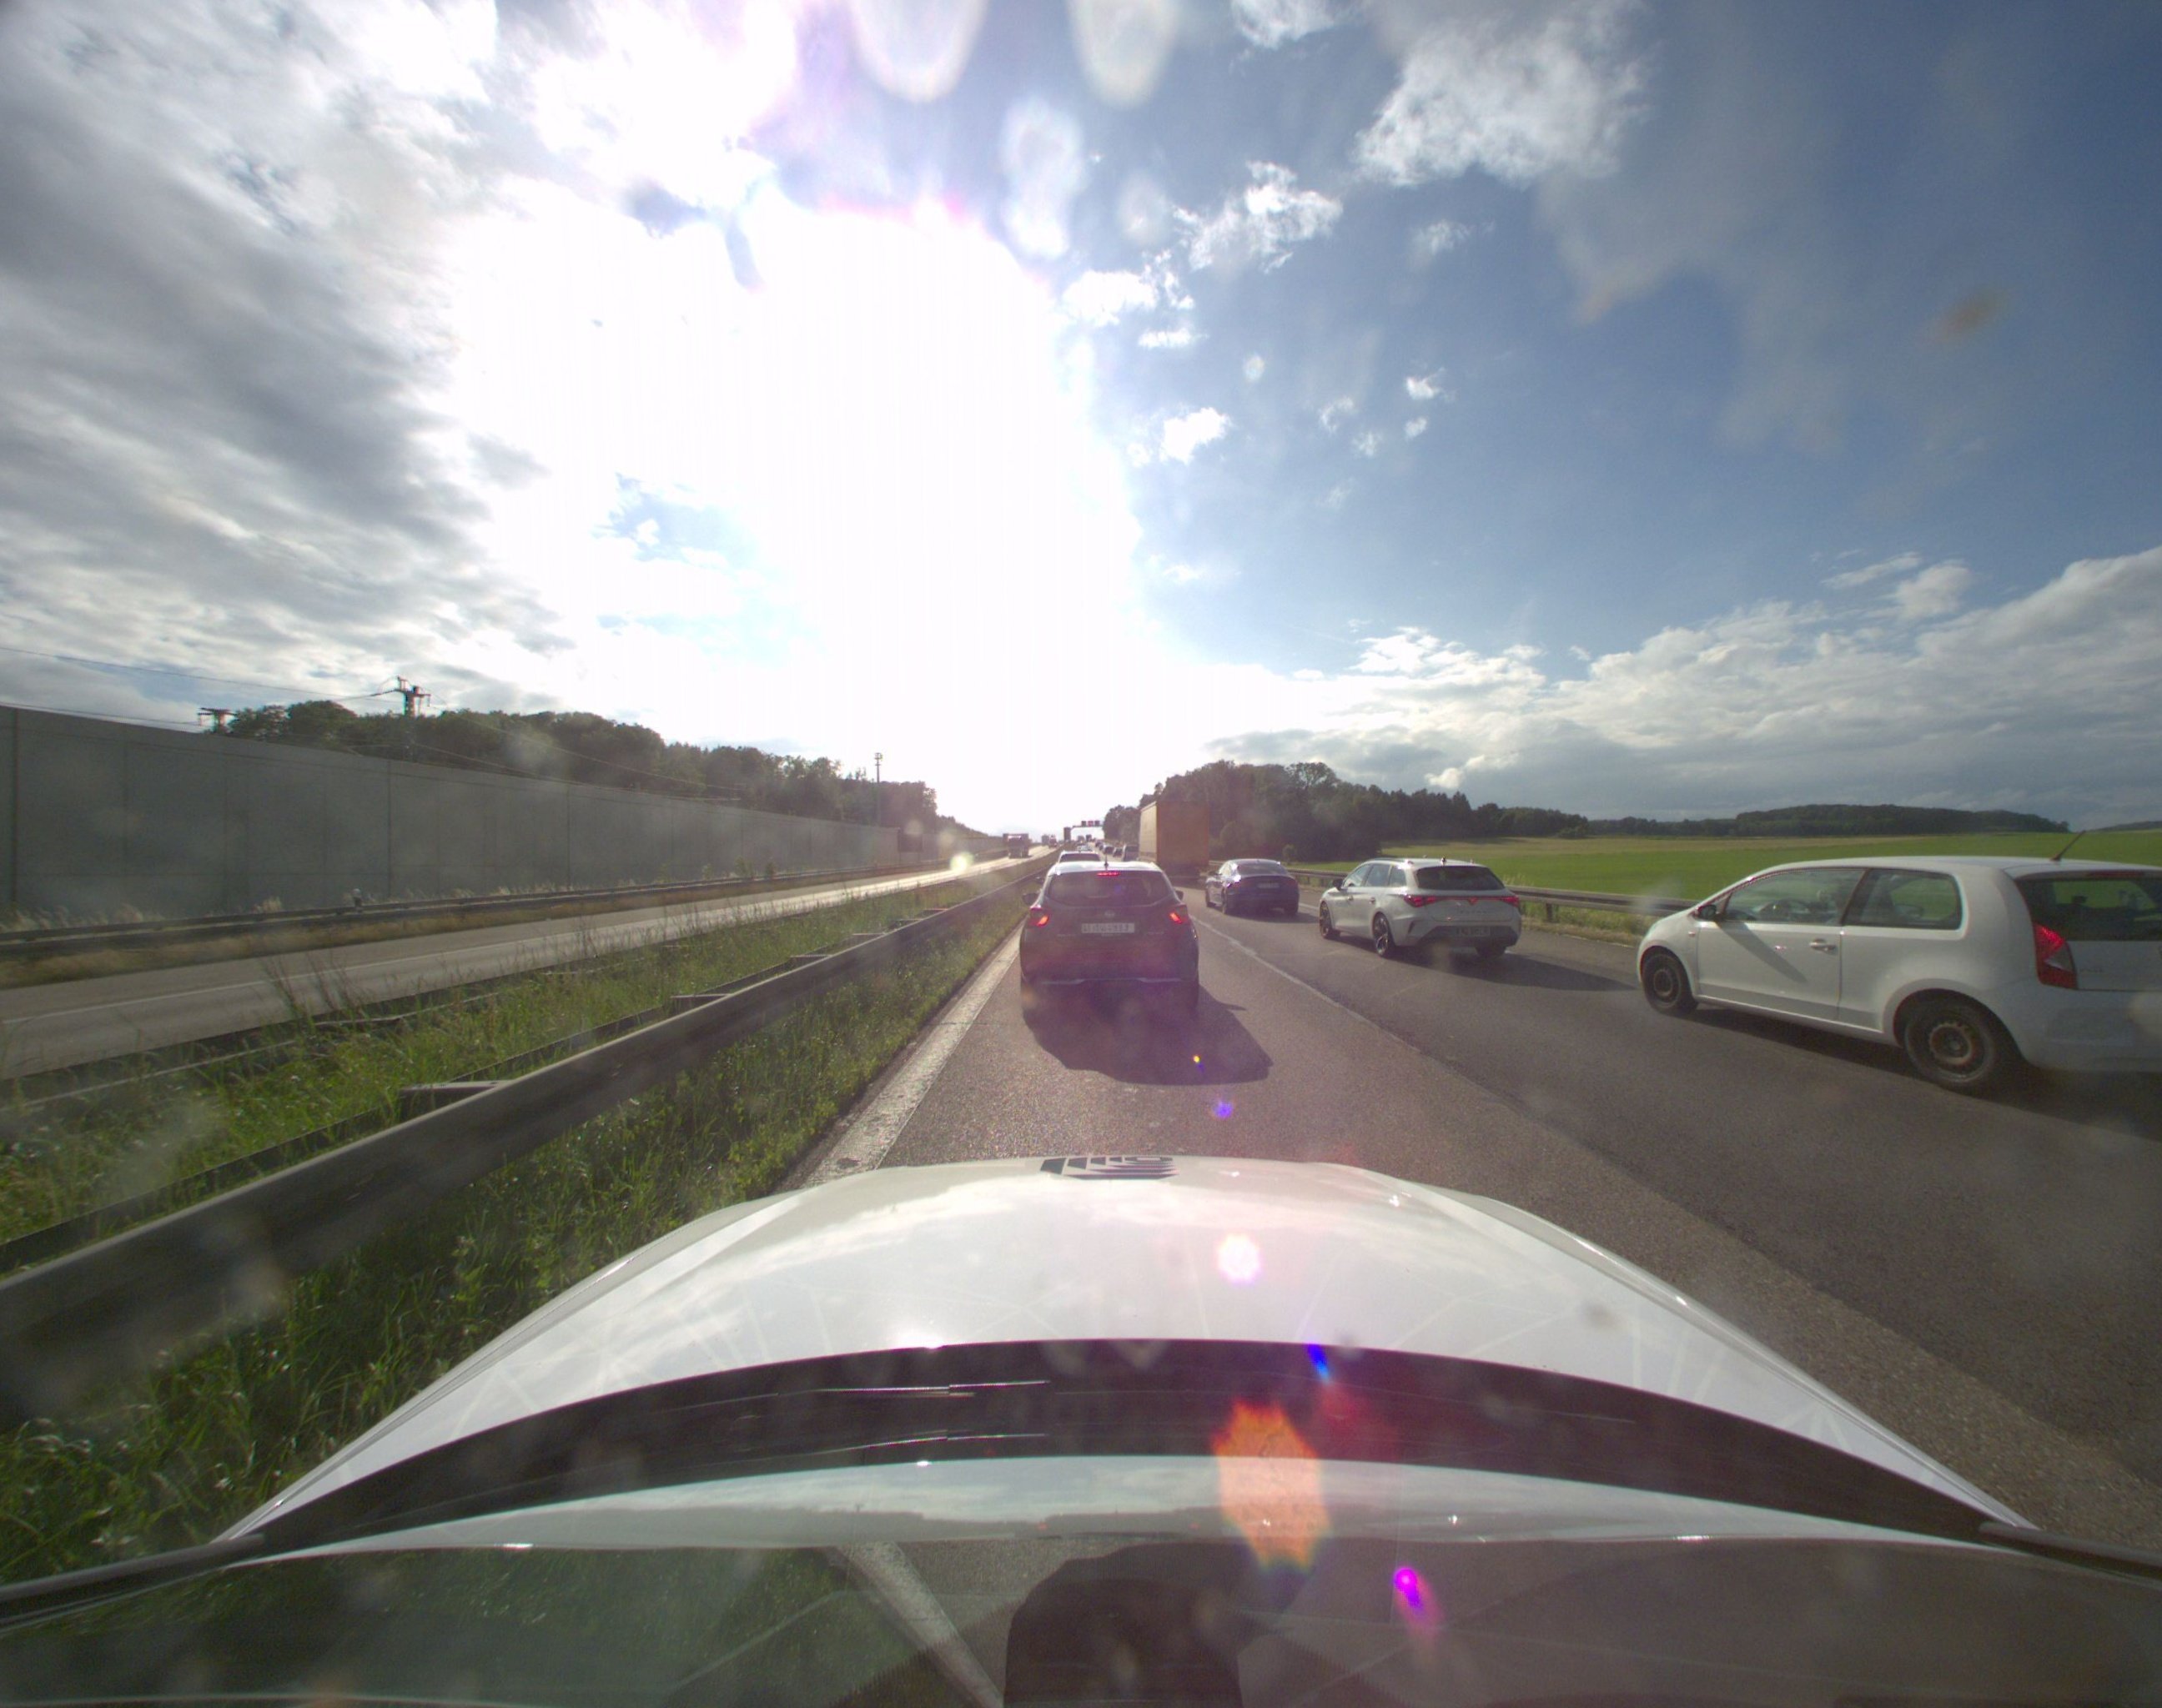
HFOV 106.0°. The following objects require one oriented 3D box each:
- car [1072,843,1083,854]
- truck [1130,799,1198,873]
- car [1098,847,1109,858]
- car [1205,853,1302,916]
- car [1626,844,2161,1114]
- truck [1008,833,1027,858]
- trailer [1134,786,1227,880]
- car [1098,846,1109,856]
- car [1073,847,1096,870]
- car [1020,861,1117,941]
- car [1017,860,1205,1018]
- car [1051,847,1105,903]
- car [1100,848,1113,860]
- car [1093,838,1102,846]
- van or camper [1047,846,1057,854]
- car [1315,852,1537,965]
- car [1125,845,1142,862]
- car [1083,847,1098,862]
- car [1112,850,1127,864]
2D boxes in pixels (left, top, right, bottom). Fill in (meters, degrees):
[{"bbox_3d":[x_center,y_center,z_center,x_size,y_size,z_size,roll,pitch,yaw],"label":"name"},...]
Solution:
[{"bbox_3d":[-0.625,-1.085,154.366,1.987,2.014,3.998,0,-1,-1],"label":"car"},{"bbox_3d":[5.125,-1.041,51.631,3.571,4.380,6.686,0,-1,-1],"label":"truck"},{"bbox_3d":[4.120,-0.324,150.817,1.987,2.014,3.998,0,-1,-1],"label":"car"},{"bbox_3d":[4.399,0.750,21.321,1.741,1.475,4.147,-1,-1,1],"label":"car"},{"bbox_3d":[6.111,0.685,6.259,1.544,1.495,3.376,0,0,-1],"label":"car"},{"bbox_3d":[-10.681,-1.334,136.790,2.629,4.098,7.000,0,-1,0],"label":"truck"},{"bbox_3d":[5.165,-0.950,45.218,3.538,4.457,12.718,0,-1,0],"label":"trailer"},{"bbox_3d":[4.600,-0.613,166.920,1.987,2.014,3.998,0,-1,-1],"label":"car"},{"bbox_3d":[0.298,0.452,74.171,1.987,2.014,3.998,0,-1,-1],"label":"car"},{"bbox_3d":[-0.182,0.833,15.904,1.668,1.367,3.597,-1,-1,1],"label":"car"},{"bbox_3d":[0.326,0.793,9.120,1.703,1.426,3.379,-1,-1,2],"label":"car"},{"bbox_3d":[-0.047,0.663,27.132,1.668,1.726,3.597,-1,-1,1],"label":"car"},{"bbox_3d":[4.427,-0.006,142.581,1.987,2.014,3.998,0,-1,-1],"label":"car"},{"bbox_3d":[4.054,-2.935,199.552,1.987,2.014,3.998,0,-1,-1],"label":"car"},{"bbox_3d":[-7.671,-1.043,213.996,2.158,2.205,6.260,0,-1,2],"label":"van or camper"},{"bbox_3d":[5.073,0.728,12.638,1.616,1.445,4.144,0,-1,-1],"label":"car"},{"bbox_3d":[5.315,-0.029,83.146,1.661,1.755,3.328,0,-1,2],"label":"car"},{"bbox_3d":[1.251,0.058,108.790,1.987,2.014,3.998,0,-1,-1],"label":"car"},{"bbox_3d":[5.870,0.438,124.874,1.987,2.014,3.998,0,-1,-1],"label":"car"}]
